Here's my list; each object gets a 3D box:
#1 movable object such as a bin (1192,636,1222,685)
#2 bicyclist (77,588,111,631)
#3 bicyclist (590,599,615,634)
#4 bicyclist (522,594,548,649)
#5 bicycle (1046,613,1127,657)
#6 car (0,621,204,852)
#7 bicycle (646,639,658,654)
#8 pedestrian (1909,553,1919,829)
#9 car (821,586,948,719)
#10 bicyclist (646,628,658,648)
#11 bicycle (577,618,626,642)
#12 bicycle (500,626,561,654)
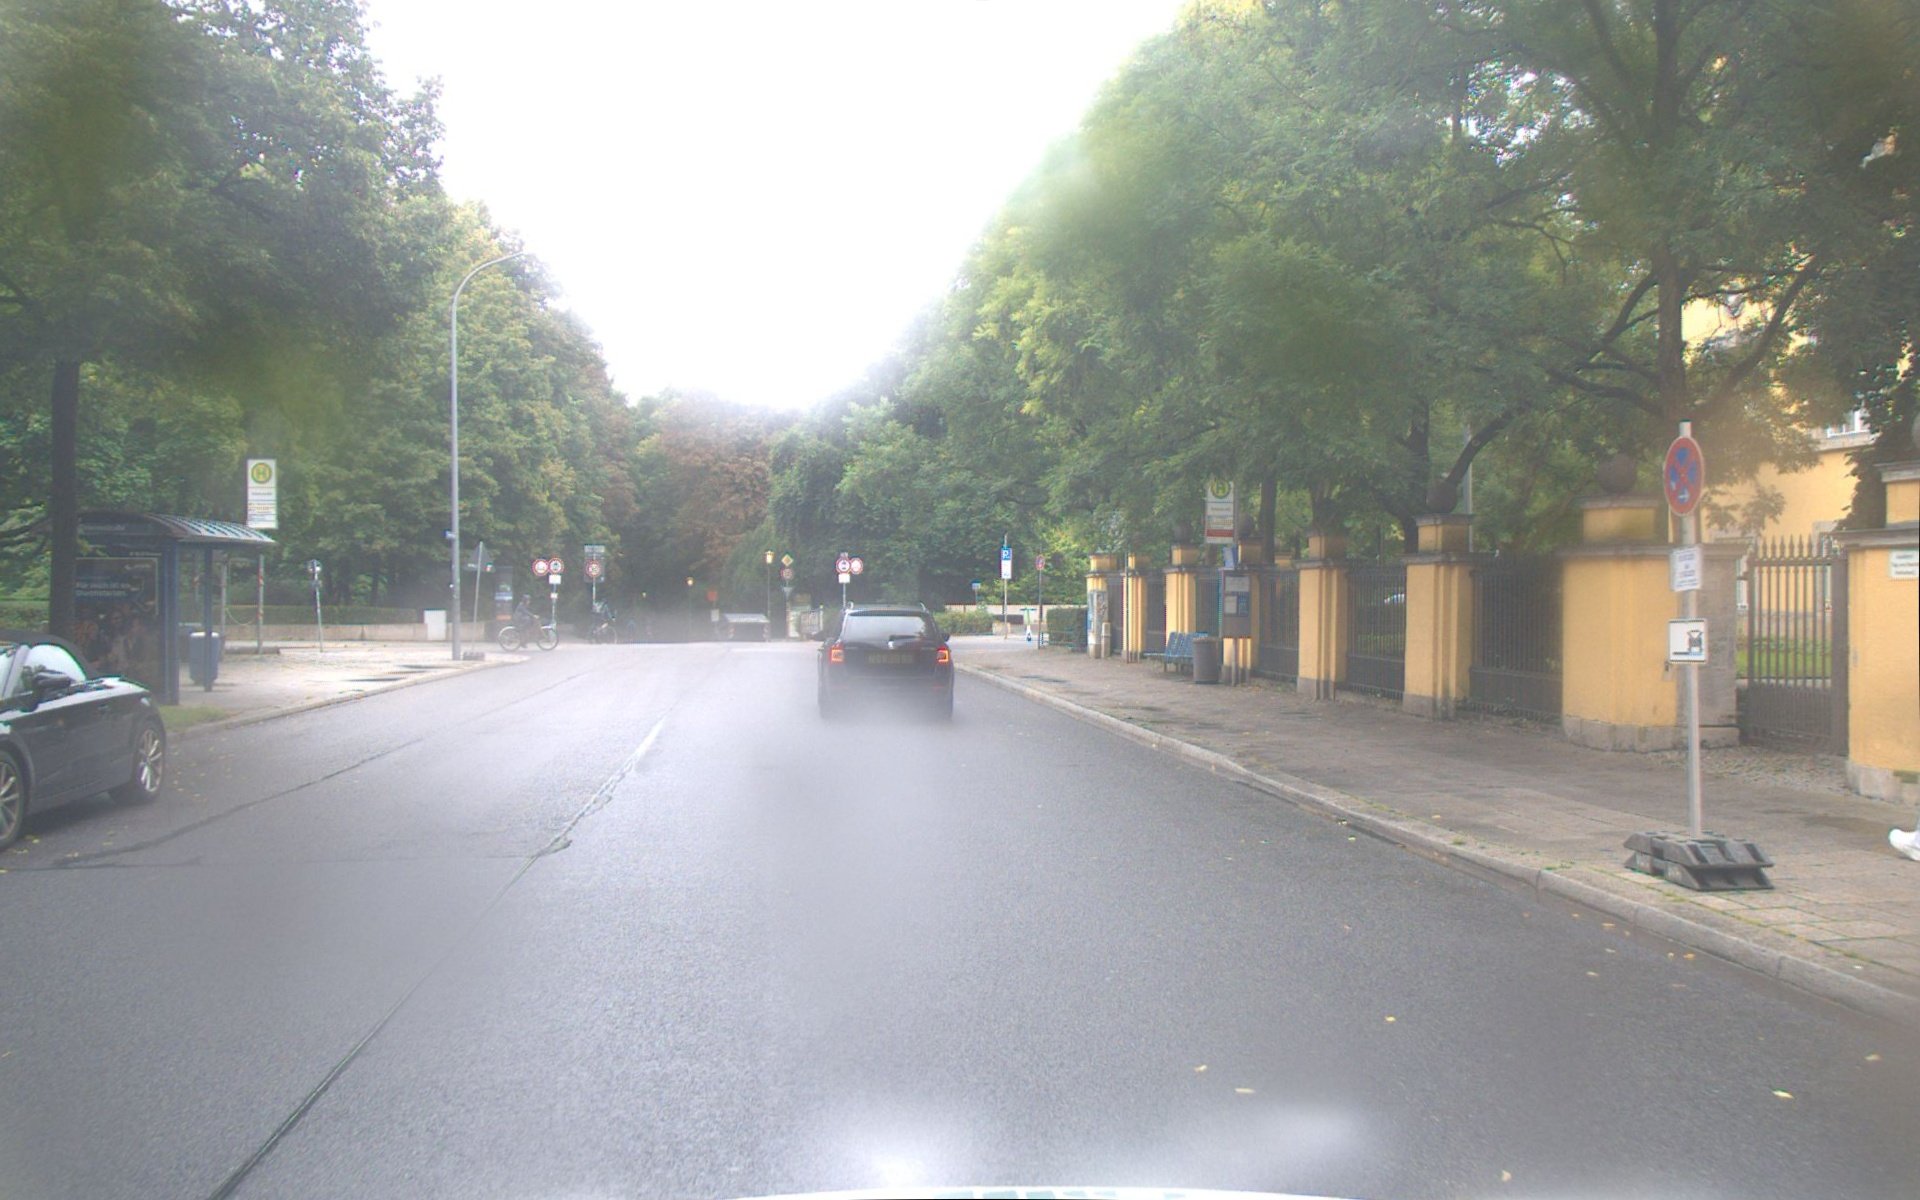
[{"bbox_3d":[4.099,0.998,27.465,0.389,0.794,0.464,-1,0,-5],"label":"movable object such as a bin"},{"bbox_3d":[-26.074,0.298,49.793,0.844,1.279,0.518,0,-1,-34],"label":"bicyclist"},{"bbox_3d":[-13.183,0.608,60.959,0.667,1.305,0.599,-1,0,24],"label":"bicyclist"},{"bbox_3d":[-12.623,0.626,49.112,0.738,1.613,0.653,0,-1,-14],"label":"bicyclist"},{"bbox_3d":[3.135,0.854,40.904,1.873,0.966,0.580,-3,0,-14],"label":"bicycle"},{"bbox_3d":[-6.713,0.854,11.334,1.547,1.366,4.039,0,0,-6],"label":"car"},{"bbox_3d":[-18.680,2.825,100.340,0.668,0.844,2.103,0,-1,-13],"label":"bicycle"},{"bbox_3d":[5.417,0.570,8.601,0.549,1.666,0.570,-2,0,-8],"label":"pedestrian"},{"bbox_3d":[-1.072,0.651,22.271,1.546,1.611,4.040,0,0,-4],"label":"car"},{"bbox_3d":[-18.693,2.317,100.368,0.669,1.208,0.479,-1,0,-13],"label":"bicyclist"},{"bbox_3d":[-13.186,1.095,60.950,0.666,0.844,2.109,-1,-1,23],"label":"bicycle"},{"bbox_3d":[-12.722,1.189,49.042,1.733,0.810,0.568,0,-1,-14],"label":"bicycle"}]
